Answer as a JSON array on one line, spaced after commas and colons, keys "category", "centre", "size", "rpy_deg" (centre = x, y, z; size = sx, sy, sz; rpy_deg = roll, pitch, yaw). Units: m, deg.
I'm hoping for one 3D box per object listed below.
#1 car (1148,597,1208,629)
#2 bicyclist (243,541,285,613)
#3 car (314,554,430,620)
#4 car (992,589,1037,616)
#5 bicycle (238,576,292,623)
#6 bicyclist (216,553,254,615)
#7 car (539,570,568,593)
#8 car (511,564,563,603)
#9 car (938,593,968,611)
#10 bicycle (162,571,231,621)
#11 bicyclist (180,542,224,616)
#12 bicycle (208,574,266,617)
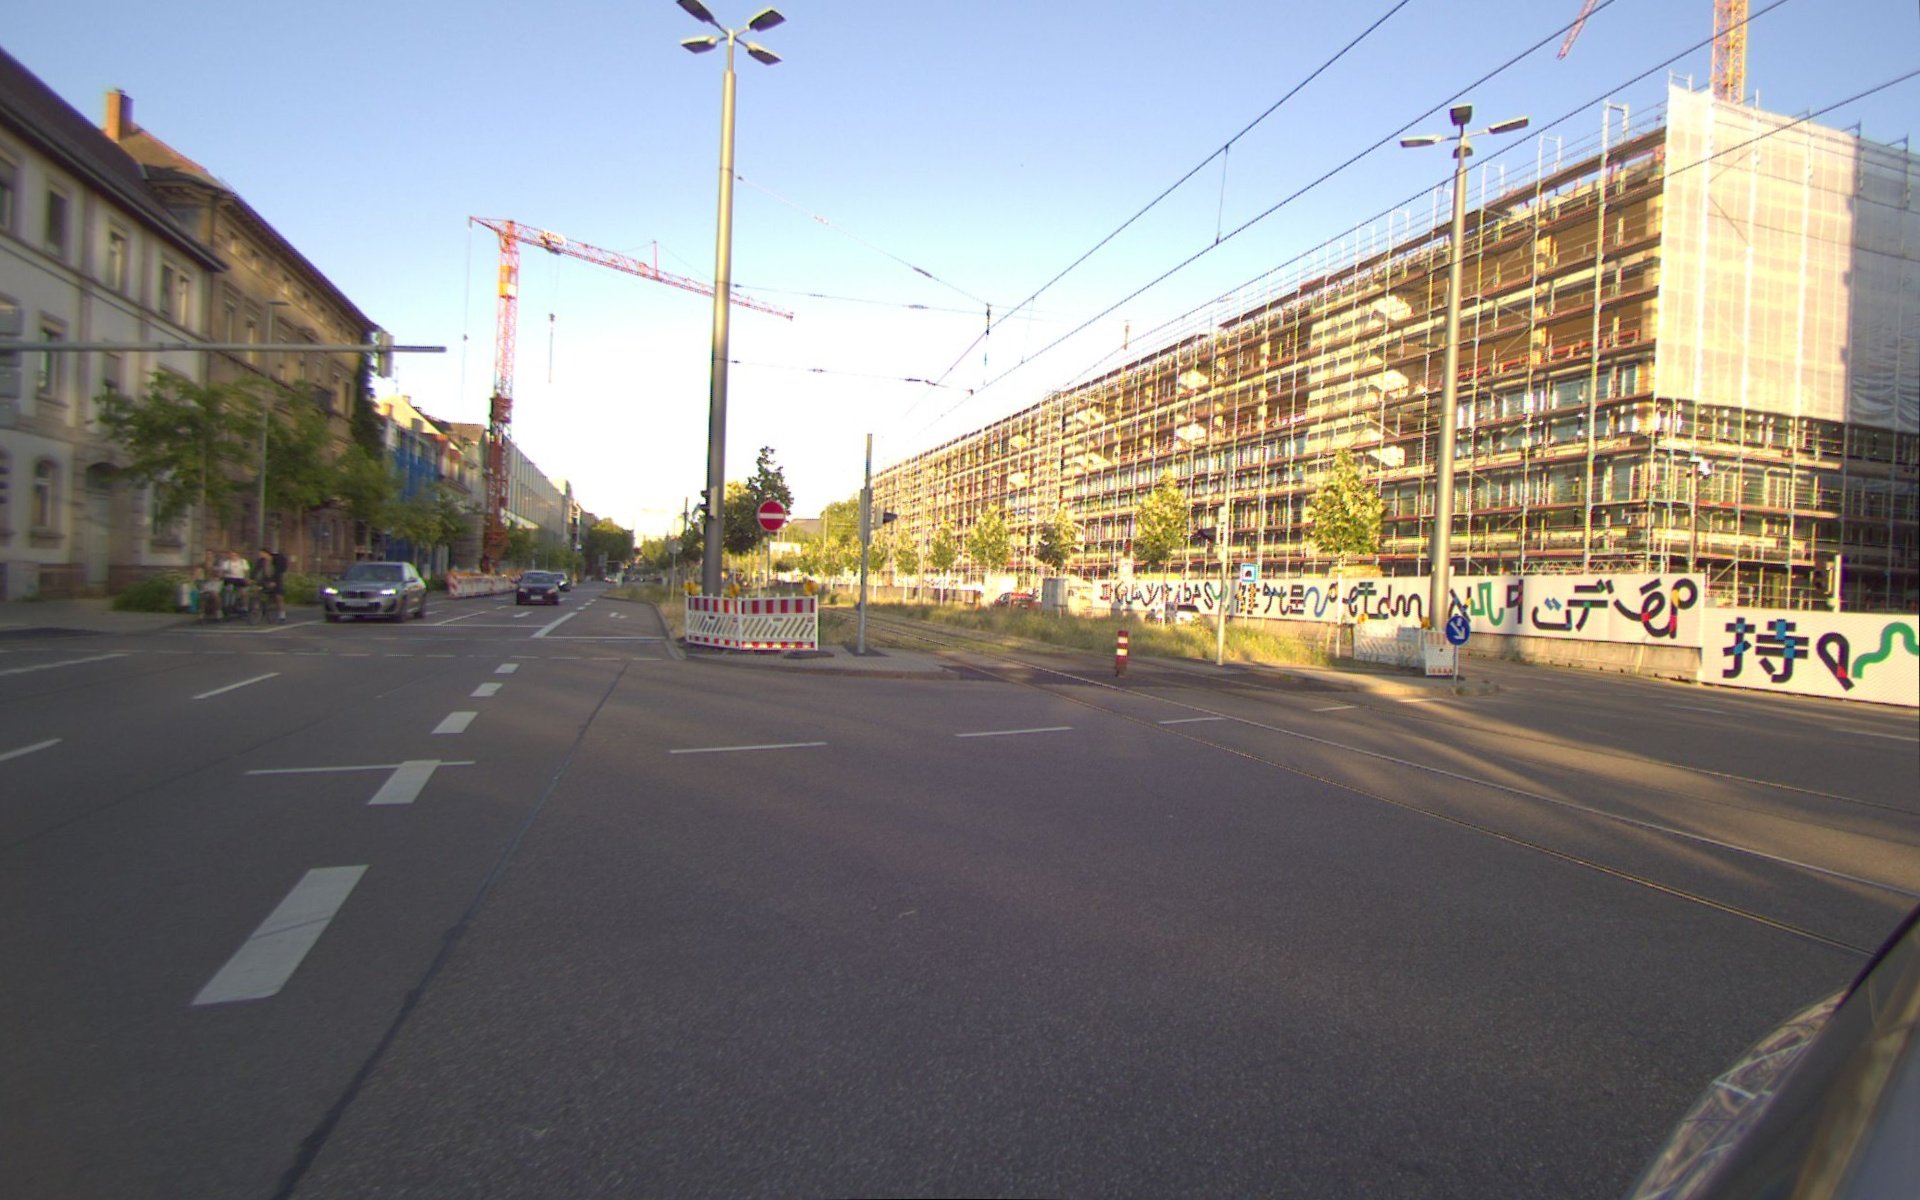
[{"category": "car", "centre": [11.593, 0.655, 54.012], "size": [1.634, 1.473, 4.076], "rpy_deg": [4, 0, -10]}, {"category": "bicyclist", "centre": [-17.026, -0.584, 24.757], "size": [0.691, 1.722, 0.770], "rpy_deg": [-1, 3, -24]}, {"category": "car", "centre": [-15.968, -0.374, 27.713], "size": [1.796, 1.617, 4.270], "rpy_deg": [1, 1, -17]}, {"category": "car", "centre": [3.523, 0.147, 66.155], "size": [1.749, 1.536, 4.077], "rpy_deg": [4, 0, -14]}, {"category": "bicycle", "centre": [-17.089, -0.031, 24.918], "size": [0.706, 1.064, 2.048], "rpy_deg": [0, 2, -24]}, {"category": "bicyclist", "centre": [-18.752, -0.416, 26.178], "size": [0.502, 1.568, 0.694], "rpy_deg": [3, 0, -15]}, {"category": "car", "centre": [-30.047, -1.387, 74.842], "size": [1.668, 1.617, 3.899], "rpy_deg": [1, 1, -17]}, {"category": "car", "centre": [-18.697, -0.755, 44.831], "size": [1.668, 1.617, 4.270], "rpy_deg": [1, 1, -17]}, {"category": "car", "centre": [-0.692, 0.145, 98.715], "size": [1.958, 1.593, 4.009], "rpy_deg": [2, 1, -14]}, {"category": "bicycle", "centre": [-18.306, -0.120, 24.309], "size": [0.518, 1.064, 2.053], "rpy_deg": [5, 1, -15]}, {"category": "bicyclist", "centre": [-18.310, -0.528, 24.444], "size": [0.499, 1.722, 0.770], "rpy_deg": [5, 1, -15]}, {"category": "bicycle", "centre": [-18.839, -0.131, 26.419], "size": [0.507, 1.064, 2.048], "rpy_deg": [3, 0, -16]}]
